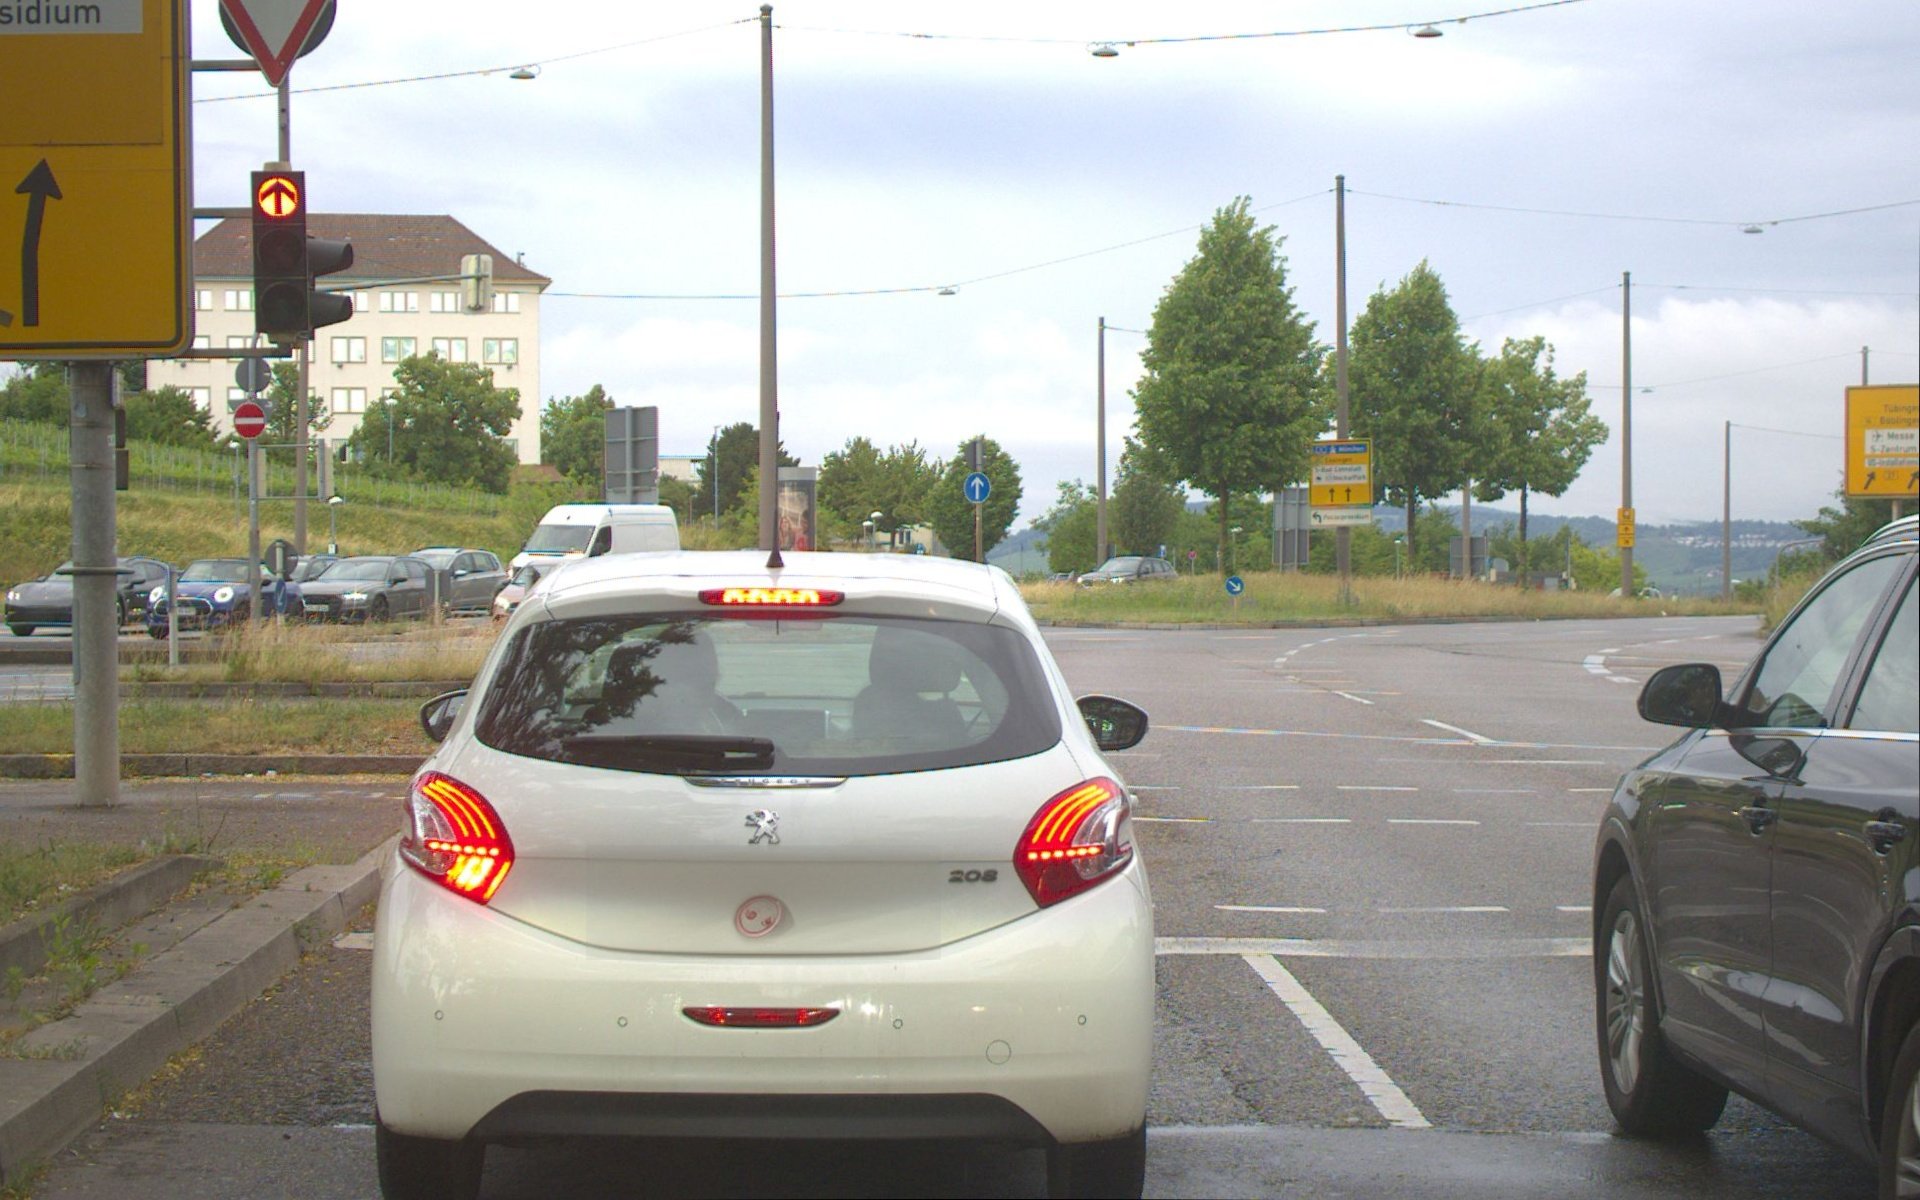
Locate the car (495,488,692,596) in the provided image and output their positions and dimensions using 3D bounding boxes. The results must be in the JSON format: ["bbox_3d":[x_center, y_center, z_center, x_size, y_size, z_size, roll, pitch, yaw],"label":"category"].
[{"bbox_3d":[-9.141,-1.418,86.446,1.996,2.550,6.161,2,0,25],"label":"car"}]

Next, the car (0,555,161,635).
[{"bbox_3d":[-16.175,-0.072,63.168,1.787,1.391,3.881,1,0,5],"label":"car"}]

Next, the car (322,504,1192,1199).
[{"bbox_3d":[-0.453,0.546,8.868,1.717,1.484,4.000,1,0,-1],"label":"car"}]

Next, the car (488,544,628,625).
[{"bbox_3d":[-7.390,-0.286,63.568,1.776,1.420,4.373,0,0,4],"label":"car"}]

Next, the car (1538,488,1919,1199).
[{"bbox_3d":[2.583,0.617,7.341,1.884,1.590,4.114,2,0,-1],"label":"car"}]

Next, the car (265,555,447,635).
[{"bbox_3d":[-11.853,-0.102,67.832,1.902,1.484,4.890,2,0,11],"label":"car"}]

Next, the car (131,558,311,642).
[{"bbox_3d":[-13.028,0.018,60.836,1.787,1.391,3.880,1,0,9],"label":"car"}]

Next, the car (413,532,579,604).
[{"bbox_3d":[-10.802,-0.721,80.254,1.996,1.570,4.190,2,0,22],"label":"car"}]
